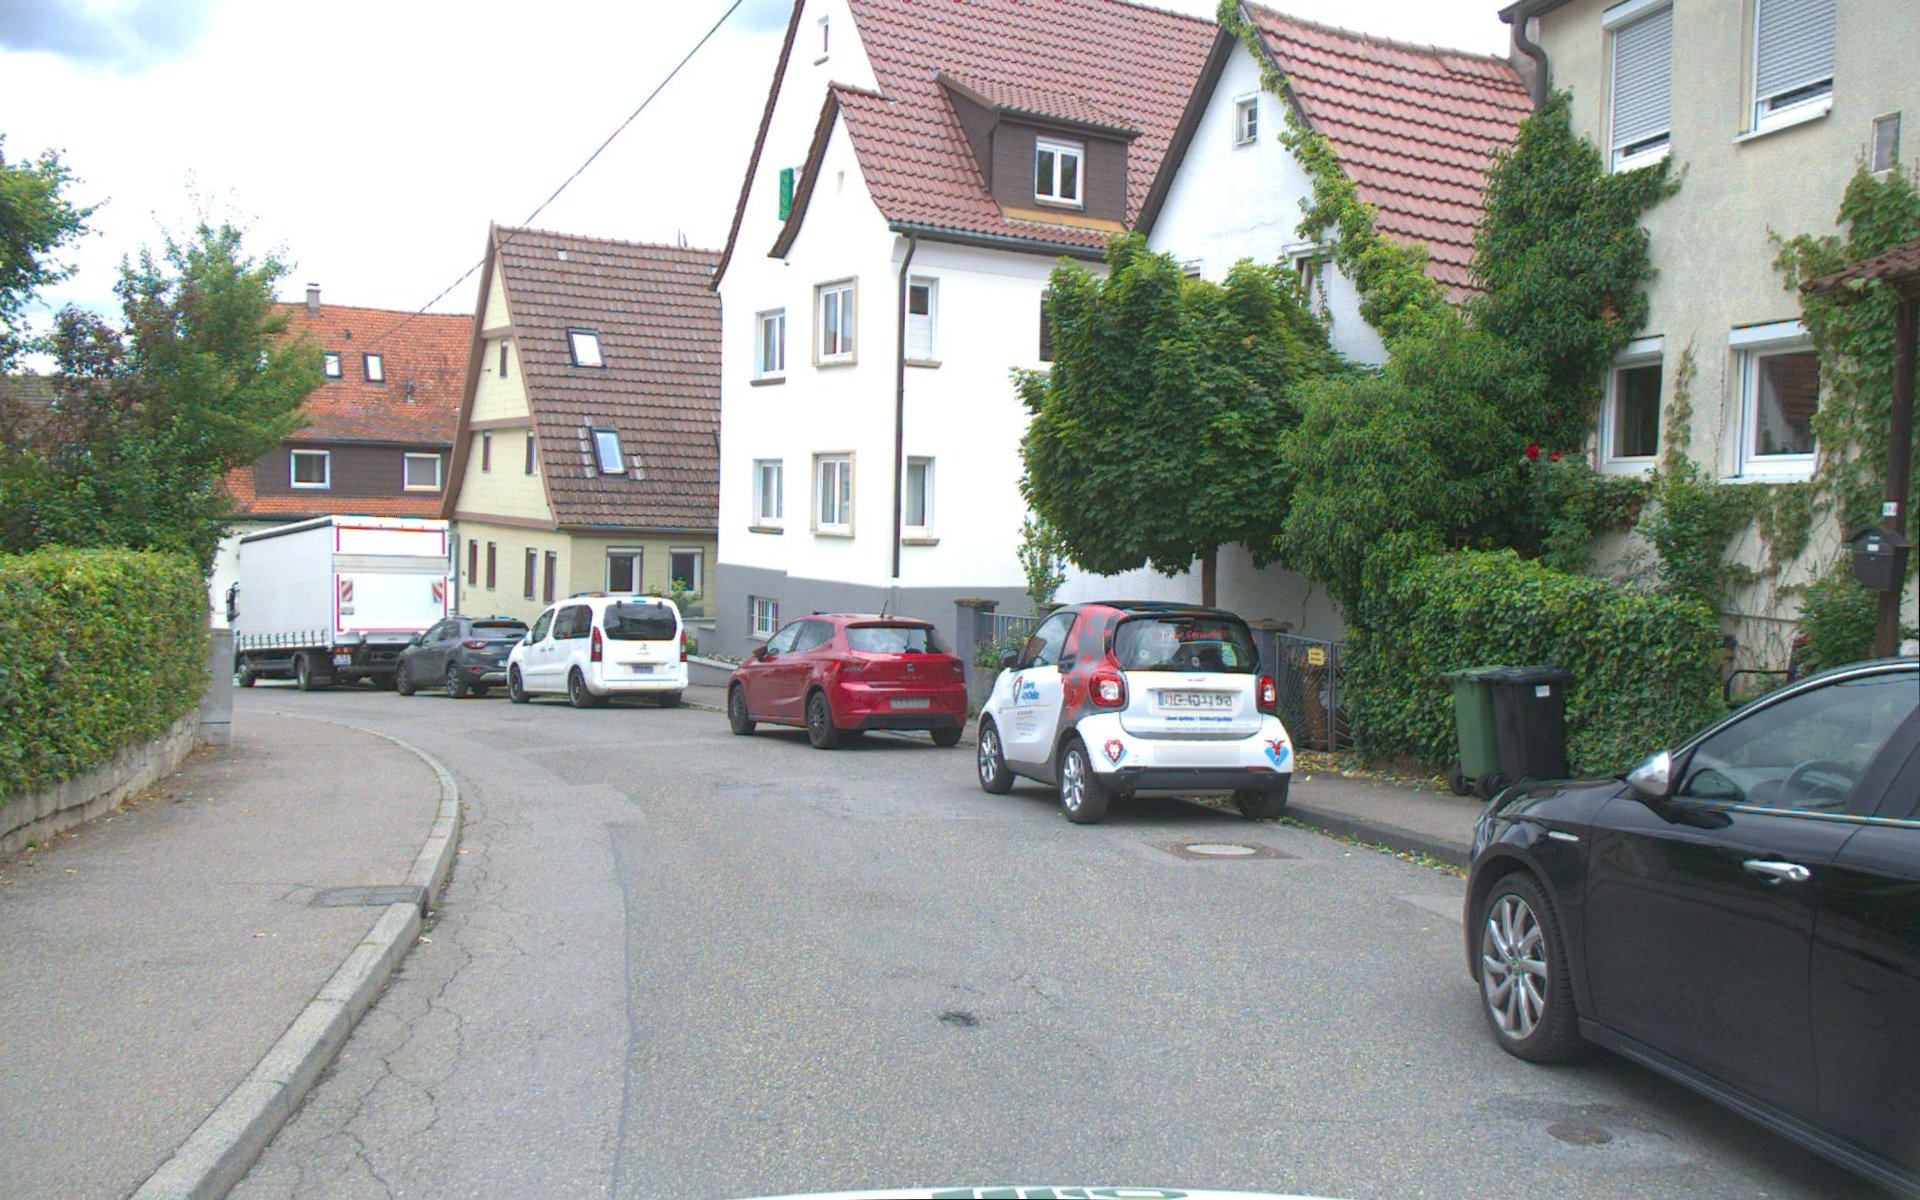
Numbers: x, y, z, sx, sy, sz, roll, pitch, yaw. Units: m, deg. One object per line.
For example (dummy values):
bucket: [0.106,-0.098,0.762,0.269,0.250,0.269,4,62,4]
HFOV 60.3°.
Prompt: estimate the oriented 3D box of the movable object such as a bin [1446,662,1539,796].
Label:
movable object such as a bin: [3.887,0.932,12.078,0.430,0.929,0.444,-3,-1,-13]

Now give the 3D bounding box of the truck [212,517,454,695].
truck: [-14.494,0.202,37.832,2.660,3.660,7.985,0,-1,-41]

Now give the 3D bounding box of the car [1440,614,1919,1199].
car: [2.942,0.810,4.302,1.686,1.431,3.994,2,0,-9]

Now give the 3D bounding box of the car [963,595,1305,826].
car: [1.236,0.790,12.840,1.586,1.559,2.882,2,-1,-18]

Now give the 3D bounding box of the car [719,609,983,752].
car: [-1.367,0.881,19.145,1.660,1.477,3.816,1,-2,-28]

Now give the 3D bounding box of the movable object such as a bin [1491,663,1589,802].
movable object such as a bin: [4.053,0.915,11.569,0.430,0.914,0.444,-3,-1,-13]

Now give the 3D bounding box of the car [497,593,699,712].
car: [-6.190,0.876,27.960,1.821,1.846,4.249,1,-2,-36]

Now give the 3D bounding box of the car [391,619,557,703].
car: [-9.522,1.184,32.227,1.721,1.533,3.993,1,-3,-39]
